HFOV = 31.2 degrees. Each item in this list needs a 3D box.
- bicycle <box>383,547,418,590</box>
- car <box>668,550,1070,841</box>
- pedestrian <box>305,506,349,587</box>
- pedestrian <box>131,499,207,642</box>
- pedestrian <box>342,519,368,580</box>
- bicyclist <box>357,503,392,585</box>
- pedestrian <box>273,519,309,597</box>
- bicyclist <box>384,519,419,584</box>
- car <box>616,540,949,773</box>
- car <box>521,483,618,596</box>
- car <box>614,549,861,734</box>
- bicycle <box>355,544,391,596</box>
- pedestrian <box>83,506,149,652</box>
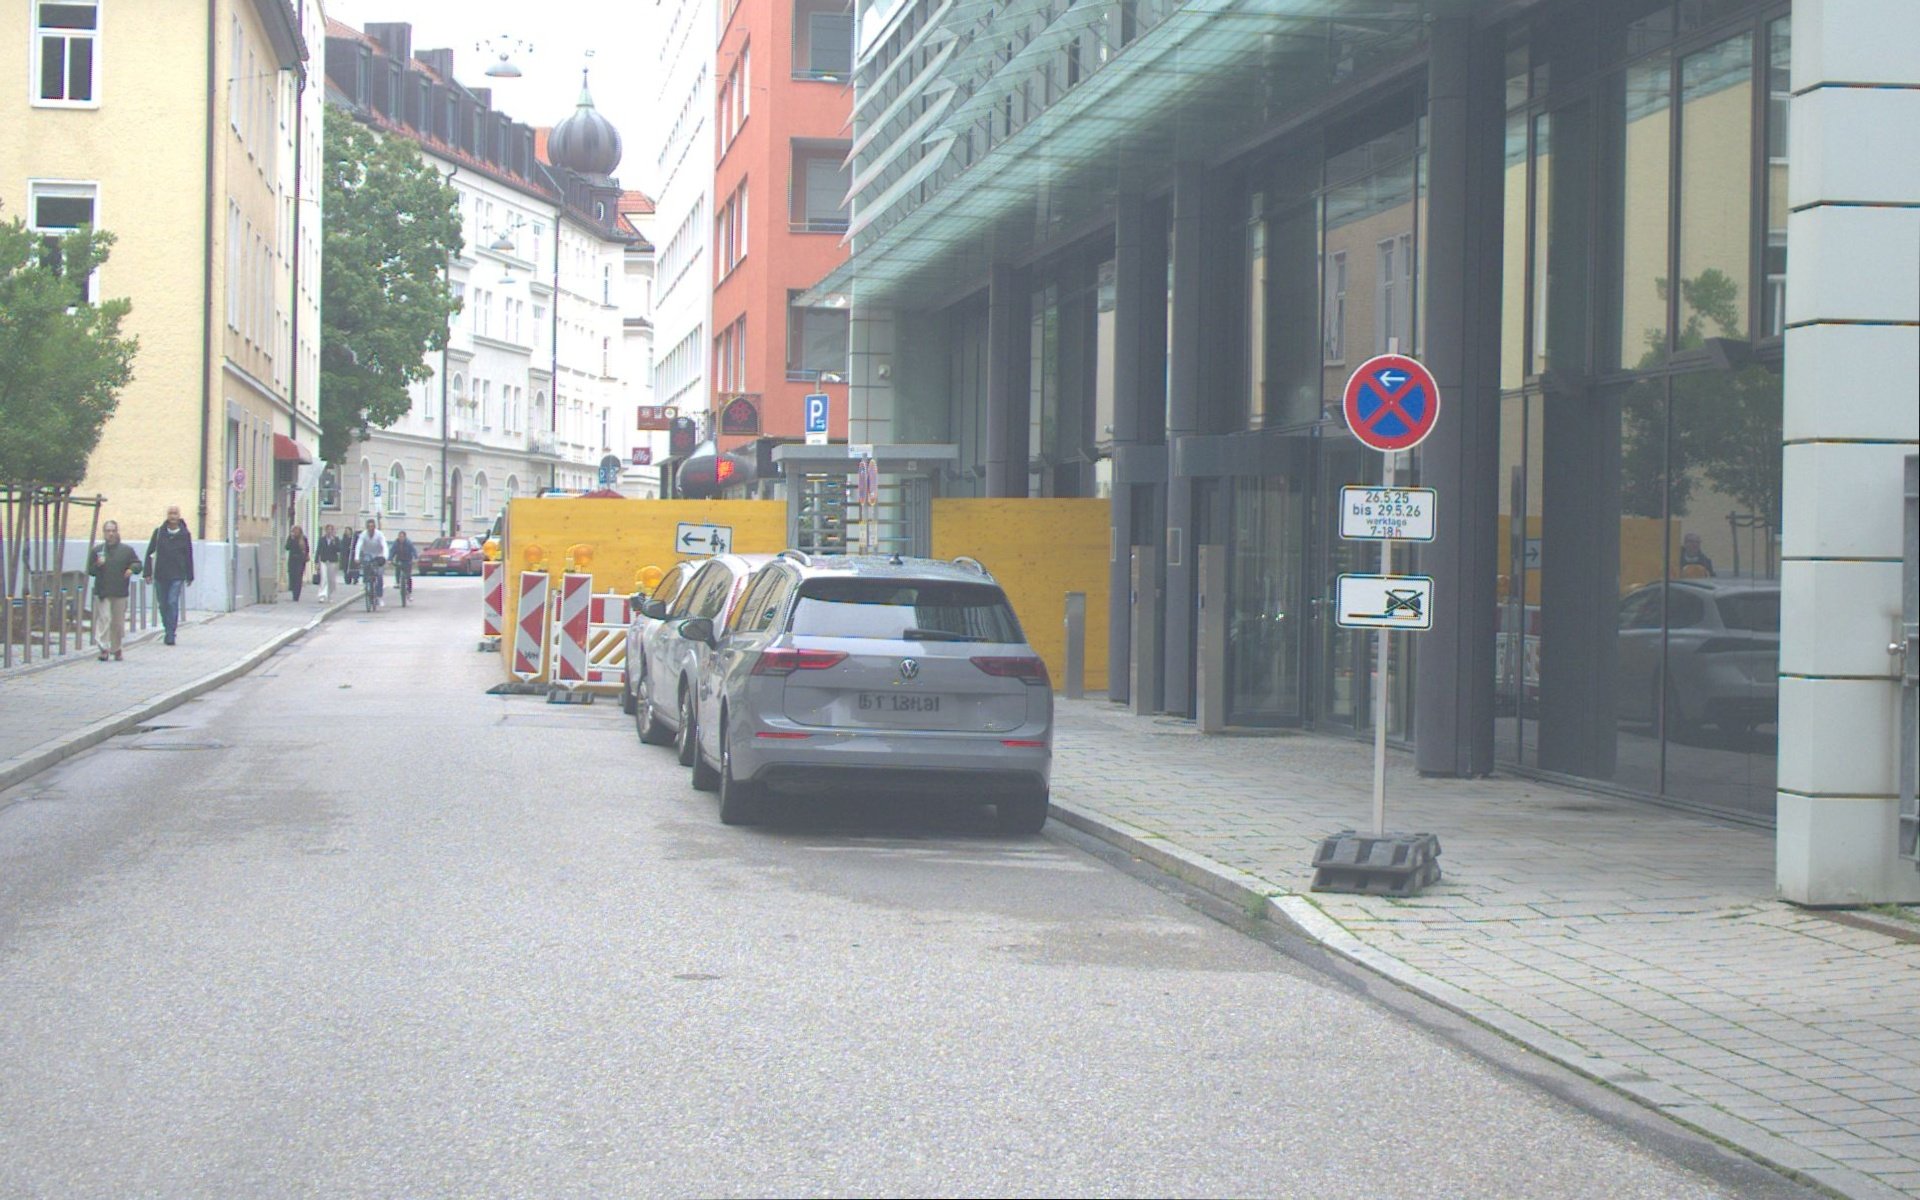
[{"bbox_3d":[-12.028,-0.673,73.993,0.707,0.902,1.810,1,1,-8],"label":"bicycle"},{"bbox_3d":[-0.632,0.453,19.400,1.707,1.427,4.330,1,1,-9],"label":"car"},{"bbox_3d":[-13.508,-1.133,73.380,0.839,1.695,0.803,2,0,-9],"label":"pedestrian"},{"bbox_3d":[-10.664,-0.398,46.377,0.867,1.875,1.135,2,0,-9],"label":"pedestrian"},{"bbox_3d":[-16.946,-1.413,96.326,0.634,1.669,0.518,2,1,-8],"label":"pedestrian"},{"bbox_3d":[-11.870,-1.139,69.706,0.659,1.637,0.895,1,1,-8],"label":"bicyclist"},{"bbox_3d":[-14.322,-0.894,73.585,0.670,1.642,0.762,2,0,-9],"label":"pedestrian"},{"bbox_3d":[-12.019,-1.046,73.967,0.707,1.366,0.813,1,1,-8],"label":"bicyclist"},{"bbox_3d":[-1.364,0.344,24.644,1.707,1.462,4.238,3,0,-12],"label":"car"},{"bbox_3d":[-9.278,-1.449,81.376,1.993,2.528,4.976,2,1,-9],"label":"car"},{"bbox_3d":[-2.003,0.309,29.766,1.707,1.409,4.511,3,0,-8],"label":"car"},{"bbox_3d":[-11.895,-0.619,69.734,0.661,1.035,2.005,1,1,-8],"label":"bicycle"},{"bbox_3d":[-9.871,-0.251,40.228,0.647,1.671,0.724,2,0,-9],"label":"pedestrian"}]
